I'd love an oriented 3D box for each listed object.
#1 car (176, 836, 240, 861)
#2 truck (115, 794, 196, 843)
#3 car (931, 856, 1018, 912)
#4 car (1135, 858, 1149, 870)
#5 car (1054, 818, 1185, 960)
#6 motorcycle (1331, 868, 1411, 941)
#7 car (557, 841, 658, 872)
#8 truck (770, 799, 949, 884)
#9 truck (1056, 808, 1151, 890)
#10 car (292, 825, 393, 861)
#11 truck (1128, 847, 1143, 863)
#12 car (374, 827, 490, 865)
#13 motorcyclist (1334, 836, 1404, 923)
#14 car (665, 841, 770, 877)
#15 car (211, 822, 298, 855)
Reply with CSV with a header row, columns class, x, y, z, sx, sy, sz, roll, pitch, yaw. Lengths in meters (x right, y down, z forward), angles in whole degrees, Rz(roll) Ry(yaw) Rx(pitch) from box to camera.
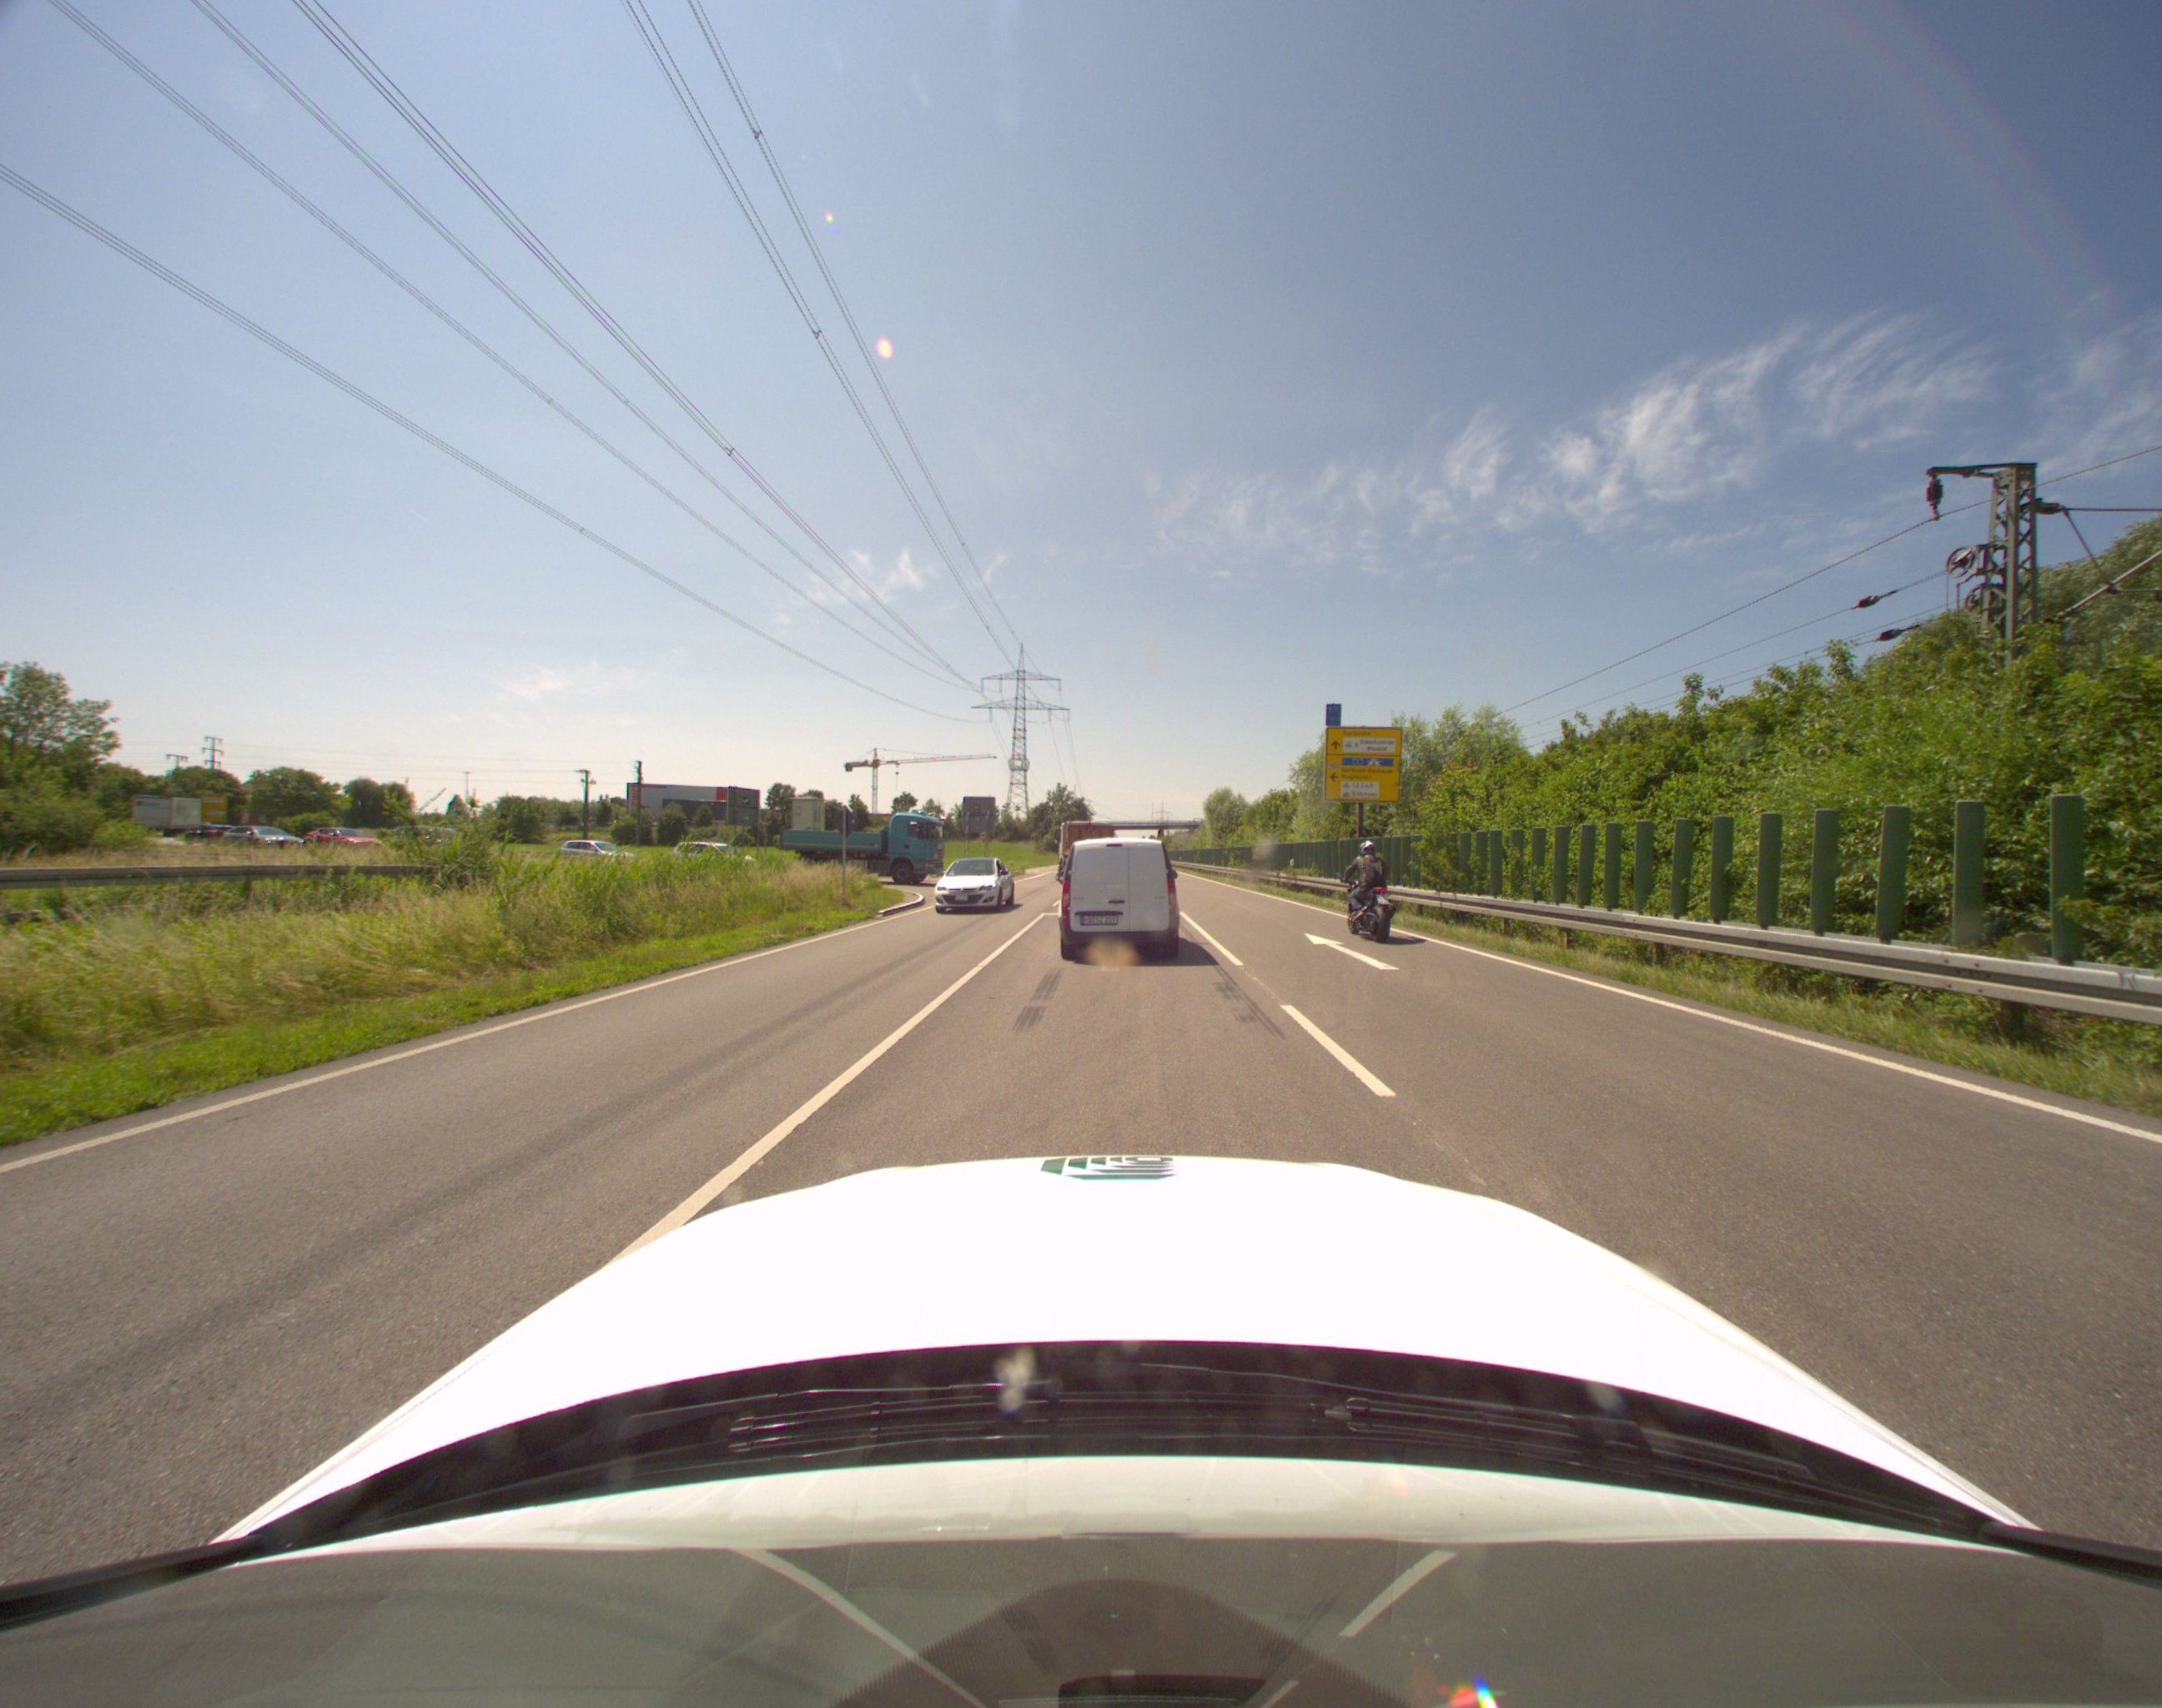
class,x,y,z,sx,sy,sz,roll,pitch,yaw
car,-61.606,-0.372,57.494,3.950,1.679,2.012,0,0,26
truck,-96.052,-3.537,84.785,3.709,4.646,13.084,1,0,-41
car,-2.952,0.790,23.457,1.718,1.441,4.252,-1,0,3
car,8.383,1.406,111.574,1.841,1.574,4.003,-1,0,3
car,0.616,0.495,13.440,1.820,1.971,4.002,-1,0,2
motorcycle,5.060,0.847,14.329,0.787,1.157,1.902,0,0,1
car,-23.979,0.102,41.259,4.401,1.470,1.724,1,0,13
truck,-10.643,-0.594,39.531,7.867,3.734,2.501,2,0,4
truck,0.765,-0.241,37.613,2.819,3.288,9.674,0,1,-8
car,-40.987,-0.622,45.241,4.437,1.849,1.923,1,0,13
truck,9.763,0.152,146.332,2.365,2.689,8.014,1,0,2
car,-34.552,-0.435,43.419,4.905,1.867,2.095,2,1,11
motorcyclist,5.013,0.431,14.231,0.886,1.476,1.002,0,0,2
car,-17.901,0.216,40.165,4.506,1.612,1.977,1,0,17
car,-47.481,-0.883,46.791,3.959,1.901,1.665,0,0,13
